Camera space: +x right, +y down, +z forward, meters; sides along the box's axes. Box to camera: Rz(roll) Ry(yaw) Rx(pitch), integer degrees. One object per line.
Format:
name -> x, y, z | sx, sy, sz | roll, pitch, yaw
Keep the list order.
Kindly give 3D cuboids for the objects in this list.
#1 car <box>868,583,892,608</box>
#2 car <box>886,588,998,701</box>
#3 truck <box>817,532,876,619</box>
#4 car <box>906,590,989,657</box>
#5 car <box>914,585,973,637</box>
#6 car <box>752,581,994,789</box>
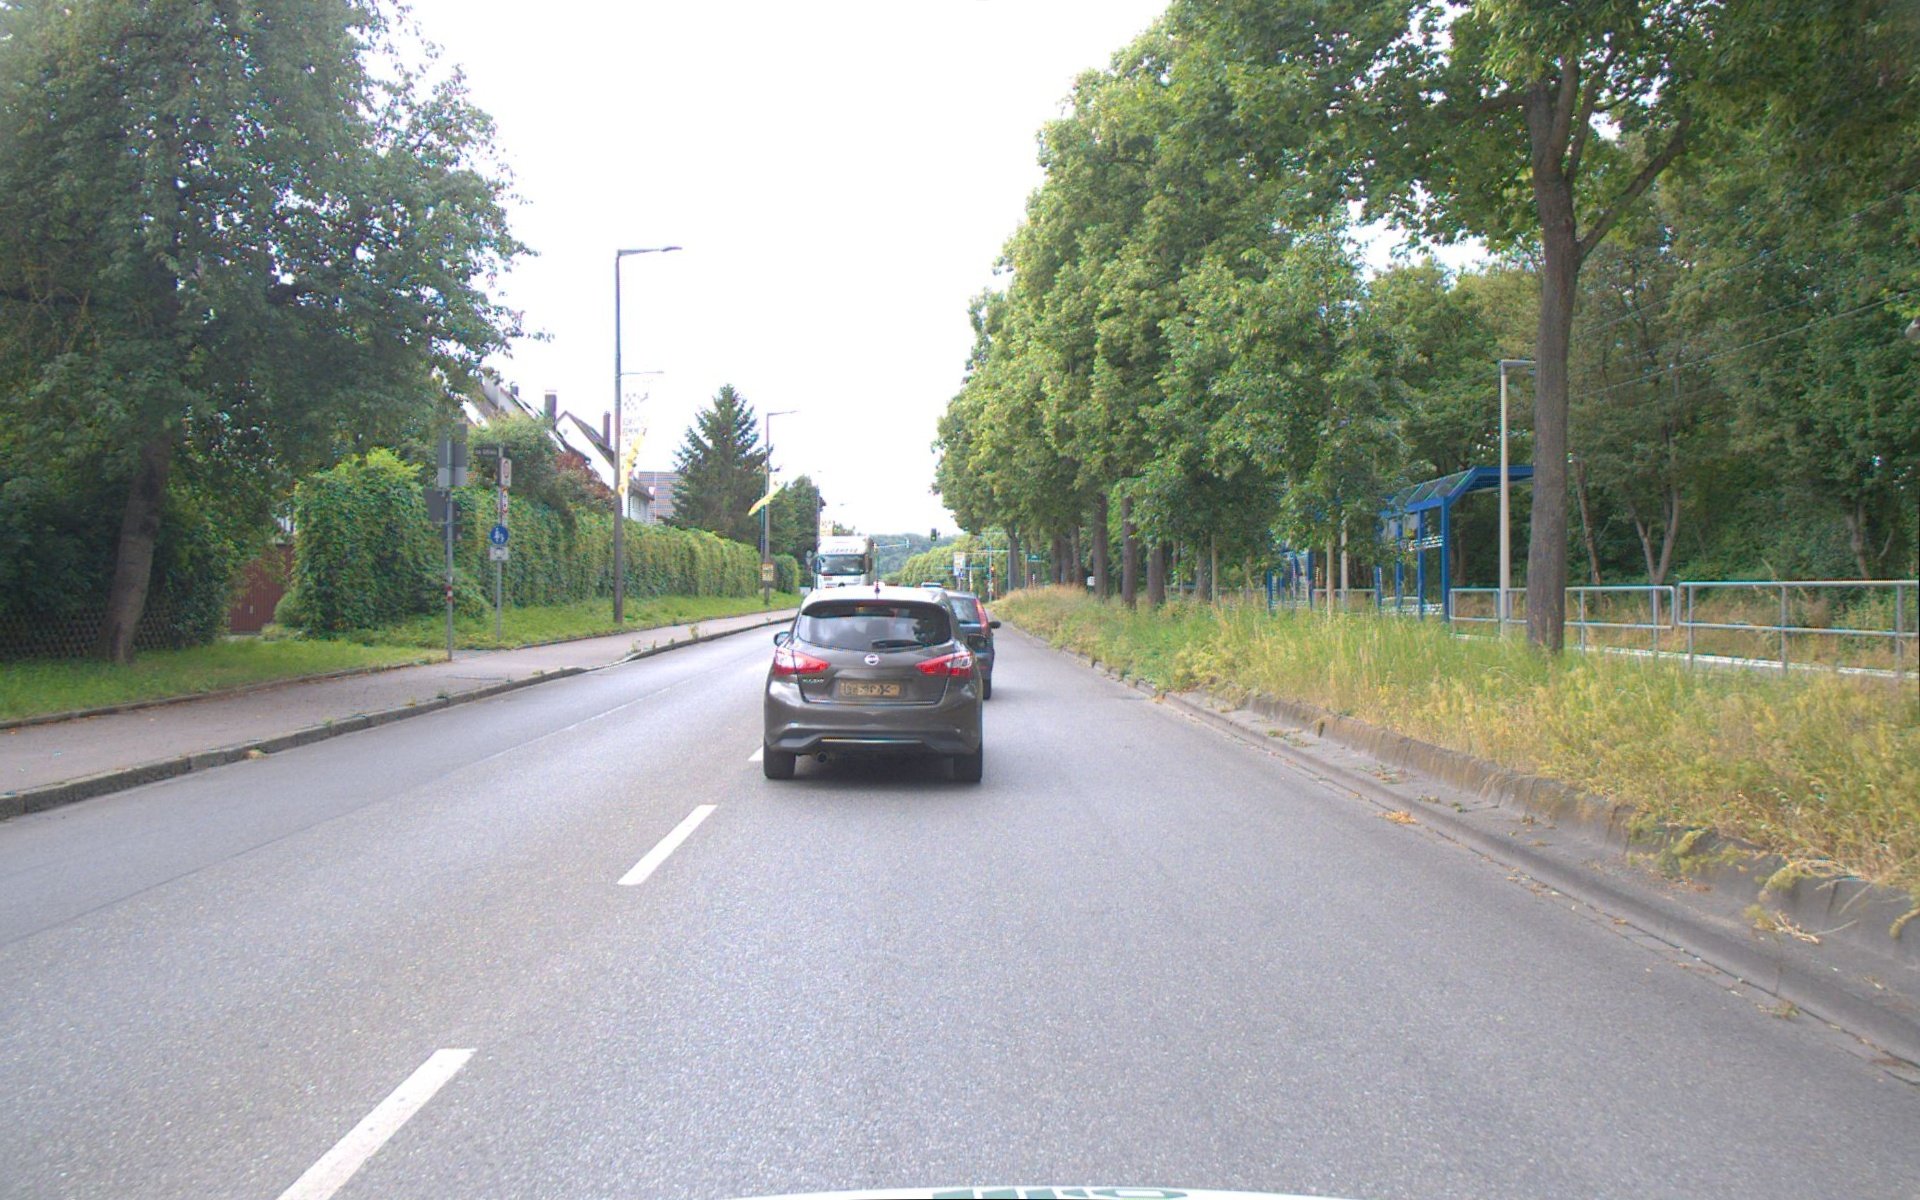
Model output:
car -> -6.563, -0.362, 135.823 | 1.869, 1.966, 4.908 | -1, 1, -3
car -> -0.270, 0.586, 24.133 | 1.507, 1.504, 3.763 | 0, 0, -1
truck -> -5.709, -1.148, 84.689 | 2.498, 4.114, 10.615 | -2, 0, -2
car -> -0.300, 0.491, 37.418 | 1.755, 1.421, 3.999 | 0, 0, -1
car -> -0.511, 0.310, 51.403 | 1.755, 1.565, 3.999 | 0, 0, -1
car -> -0.679, 0.622, 14.588 | 1.798, 1.545, 4.482 | 0, 0, -1
